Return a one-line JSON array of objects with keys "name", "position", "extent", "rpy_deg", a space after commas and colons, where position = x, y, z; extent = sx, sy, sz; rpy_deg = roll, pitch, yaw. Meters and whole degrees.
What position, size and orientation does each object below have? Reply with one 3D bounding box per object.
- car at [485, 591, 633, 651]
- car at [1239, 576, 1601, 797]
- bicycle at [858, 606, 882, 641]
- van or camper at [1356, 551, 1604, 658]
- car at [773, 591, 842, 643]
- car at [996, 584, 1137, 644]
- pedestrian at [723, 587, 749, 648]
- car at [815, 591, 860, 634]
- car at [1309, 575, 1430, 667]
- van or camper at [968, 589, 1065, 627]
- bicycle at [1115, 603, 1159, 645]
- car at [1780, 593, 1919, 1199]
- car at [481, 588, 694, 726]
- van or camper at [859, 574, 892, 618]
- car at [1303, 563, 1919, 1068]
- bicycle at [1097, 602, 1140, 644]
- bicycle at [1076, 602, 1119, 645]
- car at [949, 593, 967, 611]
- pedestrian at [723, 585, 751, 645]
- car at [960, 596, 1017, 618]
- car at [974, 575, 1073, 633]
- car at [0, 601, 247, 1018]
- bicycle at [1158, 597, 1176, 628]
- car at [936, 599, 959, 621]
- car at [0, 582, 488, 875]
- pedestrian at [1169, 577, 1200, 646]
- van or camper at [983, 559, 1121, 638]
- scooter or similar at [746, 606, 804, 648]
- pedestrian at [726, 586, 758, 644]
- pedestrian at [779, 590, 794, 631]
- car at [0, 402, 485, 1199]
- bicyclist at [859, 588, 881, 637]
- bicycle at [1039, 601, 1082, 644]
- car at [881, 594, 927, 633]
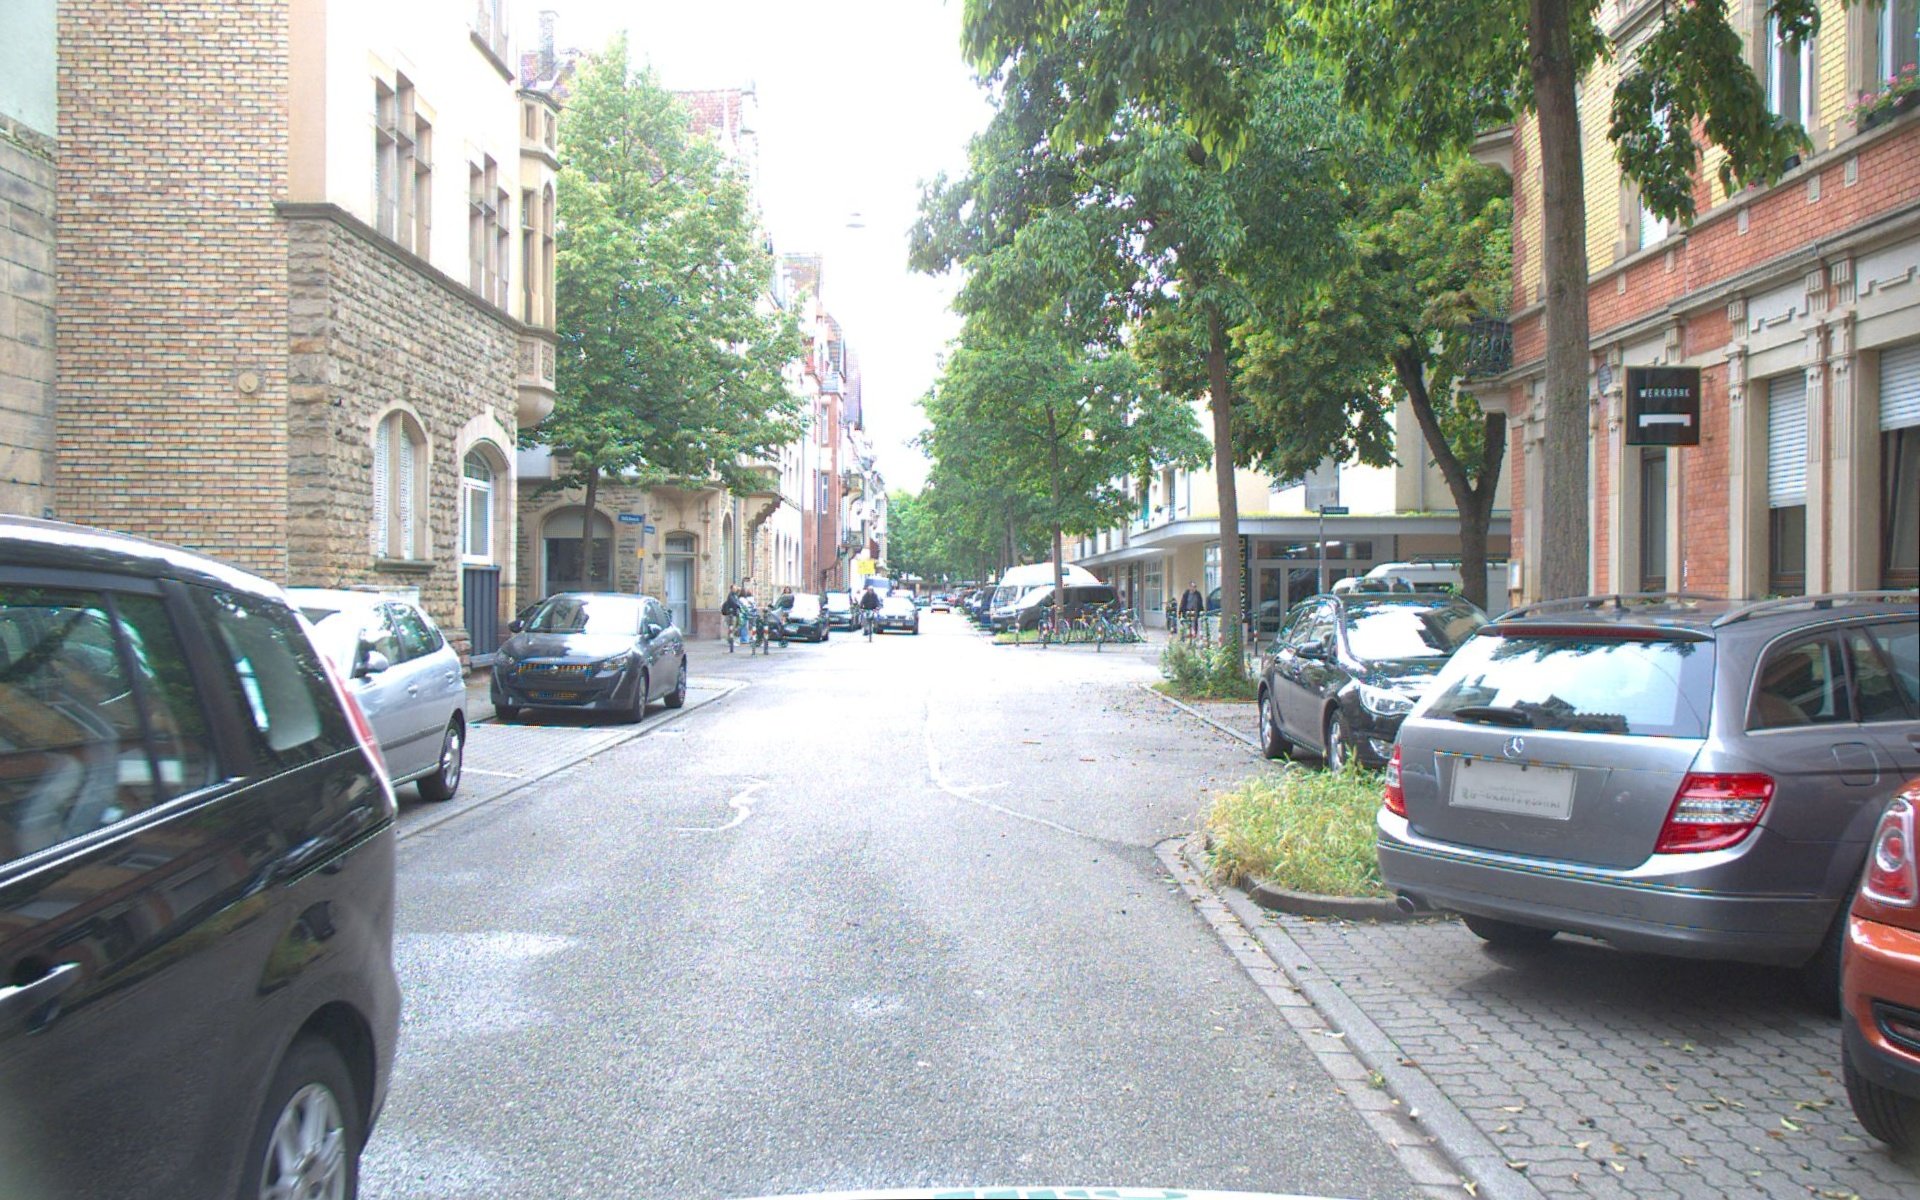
[{"name": "car", "position": [-10.855, 0.555, 44.852], "extent": [3.492, 1.485, 1.651], "rpy_deg": [-1, 2, 8]}, {"name": "car", "position": [3.644, 0.604, 13.973], "extent": [1.728, 1.512, 4.479], "rpy_deg": [-2, 0, -1]}, {"name": "bicycle", "position": [-2.873, 0.755, 53.046], "extent": [0.620, 1.113, 1.799], "rpy_deg": [0, -1, 1]}, {"name": "van or camper", "position": [13.041, 0.087, 41.824], "extent": [5.648, 2.537, 2.138], "rpy_deg": [0, 3, 6]}, {"name": "car", "position": [-4.674, 0.549, 51.285], "extent": [1.674, 1.521, 4.000], "rpy_deg": [1, -1, 1]}, {"name": "car", "position": [3.513, 0.428, 54.368], "extent": [4.278, 1.886, 1.895], "rpy_deg": [0, 0, -26]}, {"name": "pedestrian", "position": [-6.244, 0.484, 46.080], "extent": [0.516, 1.672, 0.529], "rpy_deg": [1, 0, 11]}, {"name": "car", "position": [-4.889, 0.464, 66.108], "extent": [1.613, 1.598, 2.956], "rpy_deg": [2, 1, -2]}, {"name": "car", "position": [8.779, 0.421, 35.757], "extent": [1.733, 1.851, 4.001], "rpy_deg": [0, 0, 2]}, {"name": "van or camper", "position": [3.127, 0.431, 91.304], "extent": [4.950, 1.902, 2.107], "rpy_deg": [-2, 0, -29]}, {"name": "bicycle", "position": [5.187, 0.685, 48.520], "extent": [0.540, 1.194, 1.686], "rpy_deg": [0, 0, -22]}, {"name": "car", "position": [4.092, 0.718, 4.568], "extent": [3.841, 1.460, 1.724], "rpy_deg": [0, 1, -36]}, {"name": "car", "position": [-4.406, 0.618, 20.116], "extent": [1.692, 1.459, 3.881], "rpy_deg": [2, 1, 0]}, {"name": "van or camper", "position": [-5.712, -0.324, 112.342], "extent": [1.967, 2.697, 5.317], "rpy_deg": [0, 3, 0]}, {"name": "car", "position": [3.566, 0.600, 6.955], "extent": [4.401, 1.452, 1.734], "rpy_deg": [-2, 0, -39]}, {"name": "bicycle", "position": [4.596, 0.661, 48.109], "extent": [0.540, 1.194, 1.717], "rpy_deg": [0, 0, -22]}, {"name": "bicycle", "position": [3.973, 0.672, 47.831], "extent": [0.540, 1.194, 1.717], "rpy_deg": [0, 0, -22]}, {"name": "car", "position": [-0.235, 0.256, 195.502], "extent": [1.953, 2.048, 3.999], "rpy_deg": [3, 0, -1]}, {"name": "pedestrian", "position": [-6.299, 0.413, 46.723], "extent": [0.603, 1.672, 0.604], "rpy_deg": [1, 0, 11]}, {"name": "car", "position": [2.147, 0.527, 125.080], "extent": [3.971, 1.587, 1.864], "rpy_deg": [0, 0, -32]}, {"name": "car", "position": [2.553, 0.146, 65.828], "extent": [2.023, 2.235, 4.387], "rpy_deg": [0, 0, 32]}, {"name": "car", "position": [-4.212, 0.765, 6.290], "extent": [1.486, 1.459, 3.455], "rpy_deg": [2, 1, 0]}, {"name": "bicycle", "position": [7.604, 0.454, 60.835], "extent": [0.474, 1.109, 1.701], "rpy_deg": [0, 0, 2]}, {"name": "car", "position": [-1.053, 0.884, 146.581], "extent": [1.953, 1.825, 4.000], "rpy_deg": [1, -1, 0]}, {"name": "car", "position": [-4.249, 0.636, 10.351], "extent": [1.557, 1.459, 3.808], "rpy_deg": [2, 1, -2]}, {"name": "pedestrian", "position": [6.028, 0.314, 44.451], "extent": [0.763, 1.828, 0.509], "rpy_deg": [1, 0, 1]}, {"name": "van or camper", "position": [3.198, -0.072, 57.063], "extent": [4.540, 2.641, 1.889], "rpy_deg": [0, 0, -34]}, {"name": "scooter or similar", "position": [-5.165, 0.750, 46.197], "extent": [1.438, 1.123, 0.676], "rpy_deg": [2, 0, 11]}, {"name": "pedestrian", "position": [-6.258, 0.426, 47.489], "extent": [0.620, 1.621, 0.666], "rpy_deg": [1, 0, 40]}, {"name": "pedestrian", "position": [-6.585, 0.381, 62.887], "extent": [0.505, 1.545, 0.546], "rpy_deg": [0, 0, -1]}, {"name": "car", "position": [-2.052, 0.586, 1.861], "extent": [1.772, 1.658, 4.208], "rpy_deg": [0, 0, 1]}, {"name": "bicyclist", "position": [-2.892, 0.401, 53.051], "extent": [0.634, 1.565, 0.677], "rpy_deg": [-1, 0, 2]}, {"name": "bicycle", "position": [2.847, 0.629, 47.050], "extent": [0.540, 1.194, 1.717], "rpy_deg": [0, 0, -22]}, {"name": "car", "position": [-2.181, 0.551, 64.702], "extent": [1.673, 1.438, 3.852], "rpy_deg": [-1, -1, 0]}]
